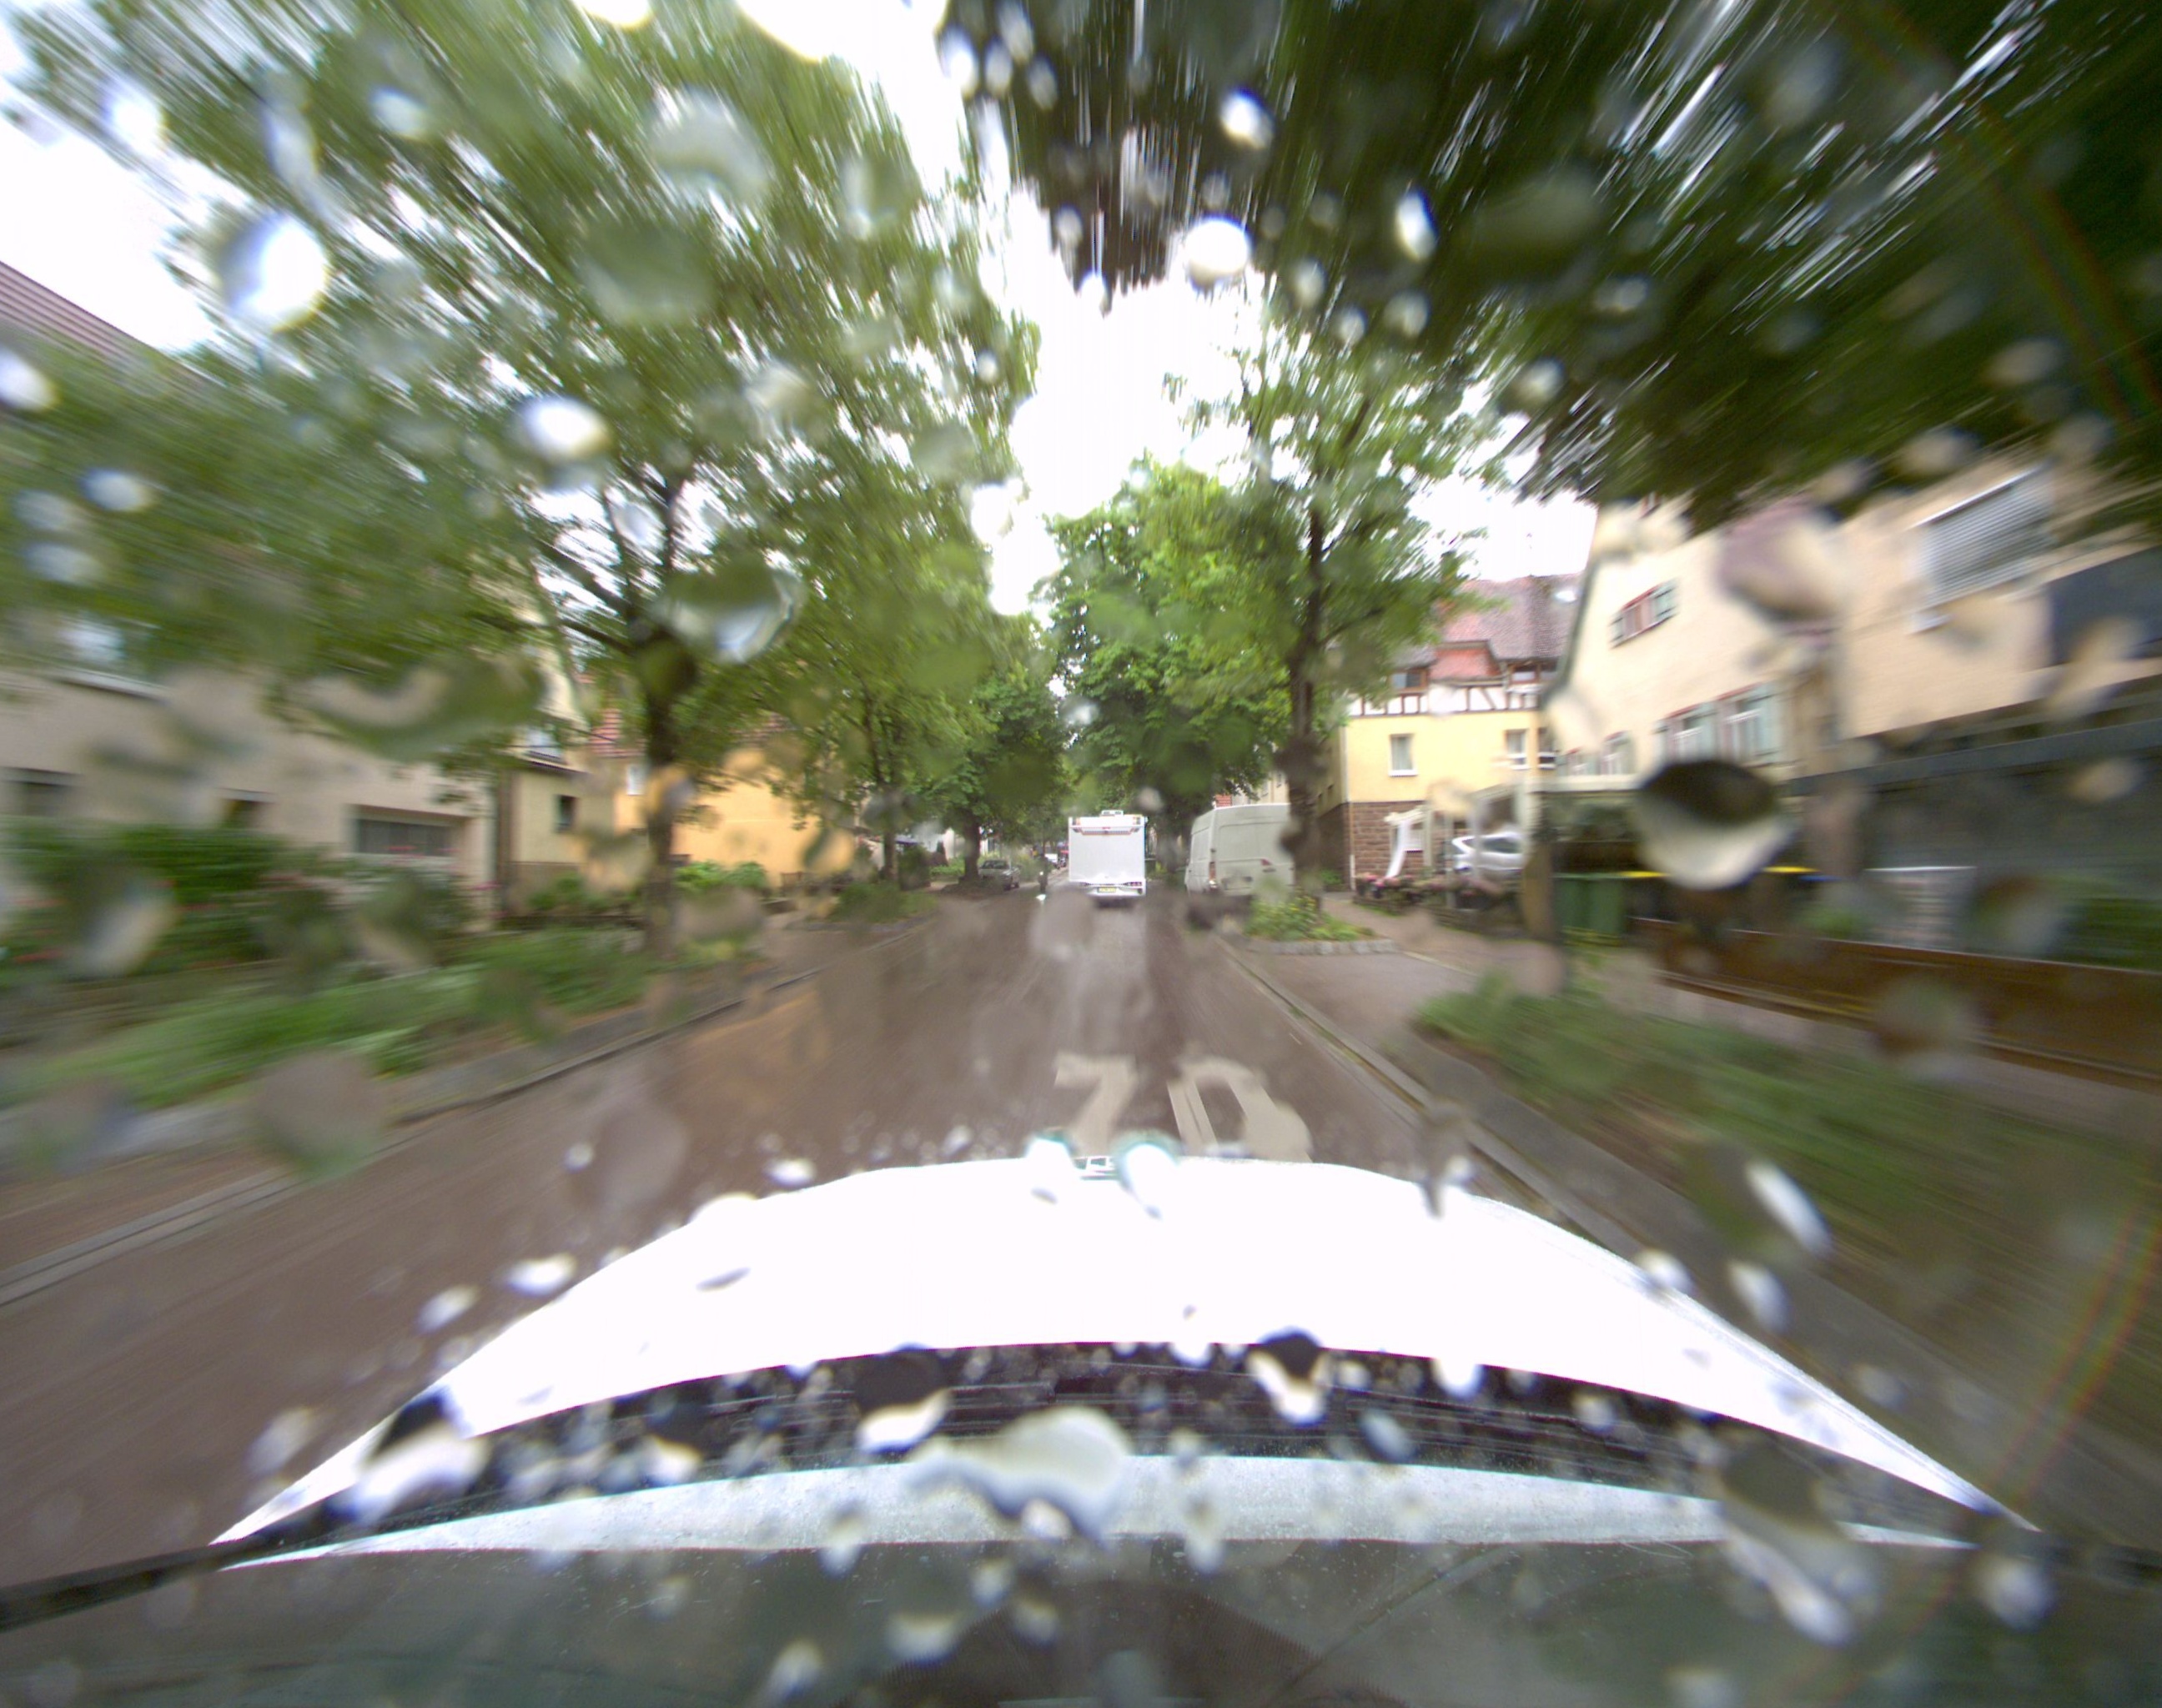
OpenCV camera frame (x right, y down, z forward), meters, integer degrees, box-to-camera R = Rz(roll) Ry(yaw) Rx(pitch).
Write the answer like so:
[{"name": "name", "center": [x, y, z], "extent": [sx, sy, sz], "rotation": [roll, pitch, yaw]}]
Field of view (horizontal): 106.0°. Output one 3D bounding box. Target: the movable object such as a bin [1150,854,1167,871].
[{"name": "movable object such as a bin", "center": [5.899, 0.643, 62.284], "extent": [1.219, 1.315, 1.135], "rotation": [-2, -1, 4]}]

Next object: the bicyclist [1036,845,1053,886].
[{"name": "bicyclist", "center": [-1.555, 0.493, 34.757], "extent": [0.625, 1.731, 0.880], "rotation": [-1, -1, 1]}]

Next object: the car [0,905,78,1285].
[{"name": "car", "center": [-4.971, 0.906, 1.384], "extent": [1.742, 1.396, 3.798], "rotation": [-1, 0, 2]}]

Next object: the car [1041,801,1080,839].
[{"name": "car", "center": [-1.163, -1.924, 47.484], "extent": [1.986, 2.014, 4.002], "rotation": [-1, 0, 2]}]

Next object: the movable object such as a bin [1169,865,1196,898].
[{"name": "movable object such as a bin", "center": [3.390, 0.913, 27.319], "extent": [0.794, 1.075, 0.879], "rotation": [-1, 0, 1]}]

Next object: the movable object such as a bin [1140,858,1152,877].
[{"name": "movable object such as a bin", "center": [3.795, 0.789, 47.832], "extent": [0.642, 1.082, 0.540], "rotation": [-1, -1, -2]}]

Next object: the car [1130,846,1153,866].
[{"name": "car", "center": [5.630, 0.220, 76.082], "extent": [1.907, 1.792, 4.490], "rotation": [-1, 0, 2]}]

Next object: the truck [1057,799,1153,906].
[{"name": "truck", "center": [0.792, -0.024, 26.222], "extent": [2.684, 2.986, 6.239], "rotation": [-1, 0, 2]}]

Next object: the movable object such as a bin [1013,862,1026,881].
[{"name": "movable object such as a bin", "center": [-3.460, 0.967, 45.711], "extent": [0.592, 1.062, 0.546], "rotation": [2, 0, 5]}]

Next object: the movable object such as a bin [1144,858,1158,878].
[{"name": "movable object such as a bin", "center": [3.915, 0.772, 45.643], "extent": [0.686, 1.082, 0.540], "rotation": [-1, -1, -2]}]

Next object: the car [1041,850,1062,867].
[{"name": "car", "center": [-2.728, 0.404, 76.150], "extent": [1.640, 1.533, 3.869], "rotation": [0, 0, 4]}]

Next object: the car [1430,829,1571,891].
[{"name": "car", "center": [12.291, 0.183, 24.032], "extent": [3.266, 1.595, 1.665], "rotation": [-3, -1, 9]}]

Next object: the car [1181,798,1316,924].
[{"name": "car", "center": [3.660, 0.148, 18.871], "extent": [2.133, 2.460, 5.437], "rotation": [-1, 0, 2]}]

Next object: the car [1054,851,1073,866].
[{"name": "car", "center": [-1.806, 0.459, 85.016], "extent": [1.765, 1.553, 4.002], "rotation": [1, 1, 2]}]

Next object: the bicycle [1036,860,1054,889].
[{"name": "bicycle", "center": [-1.538, 0.866, 34.961], "extent": [0.625, 1.209, 1.982], "rotation": [-1, 0, 2]}]

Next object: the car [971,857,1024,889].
[{"name": "car", "center": [-3.833, 0.846, 38.202], "extent": [1.765, 1.389, 4.549], "rotation": [1, 0, 3]}]
